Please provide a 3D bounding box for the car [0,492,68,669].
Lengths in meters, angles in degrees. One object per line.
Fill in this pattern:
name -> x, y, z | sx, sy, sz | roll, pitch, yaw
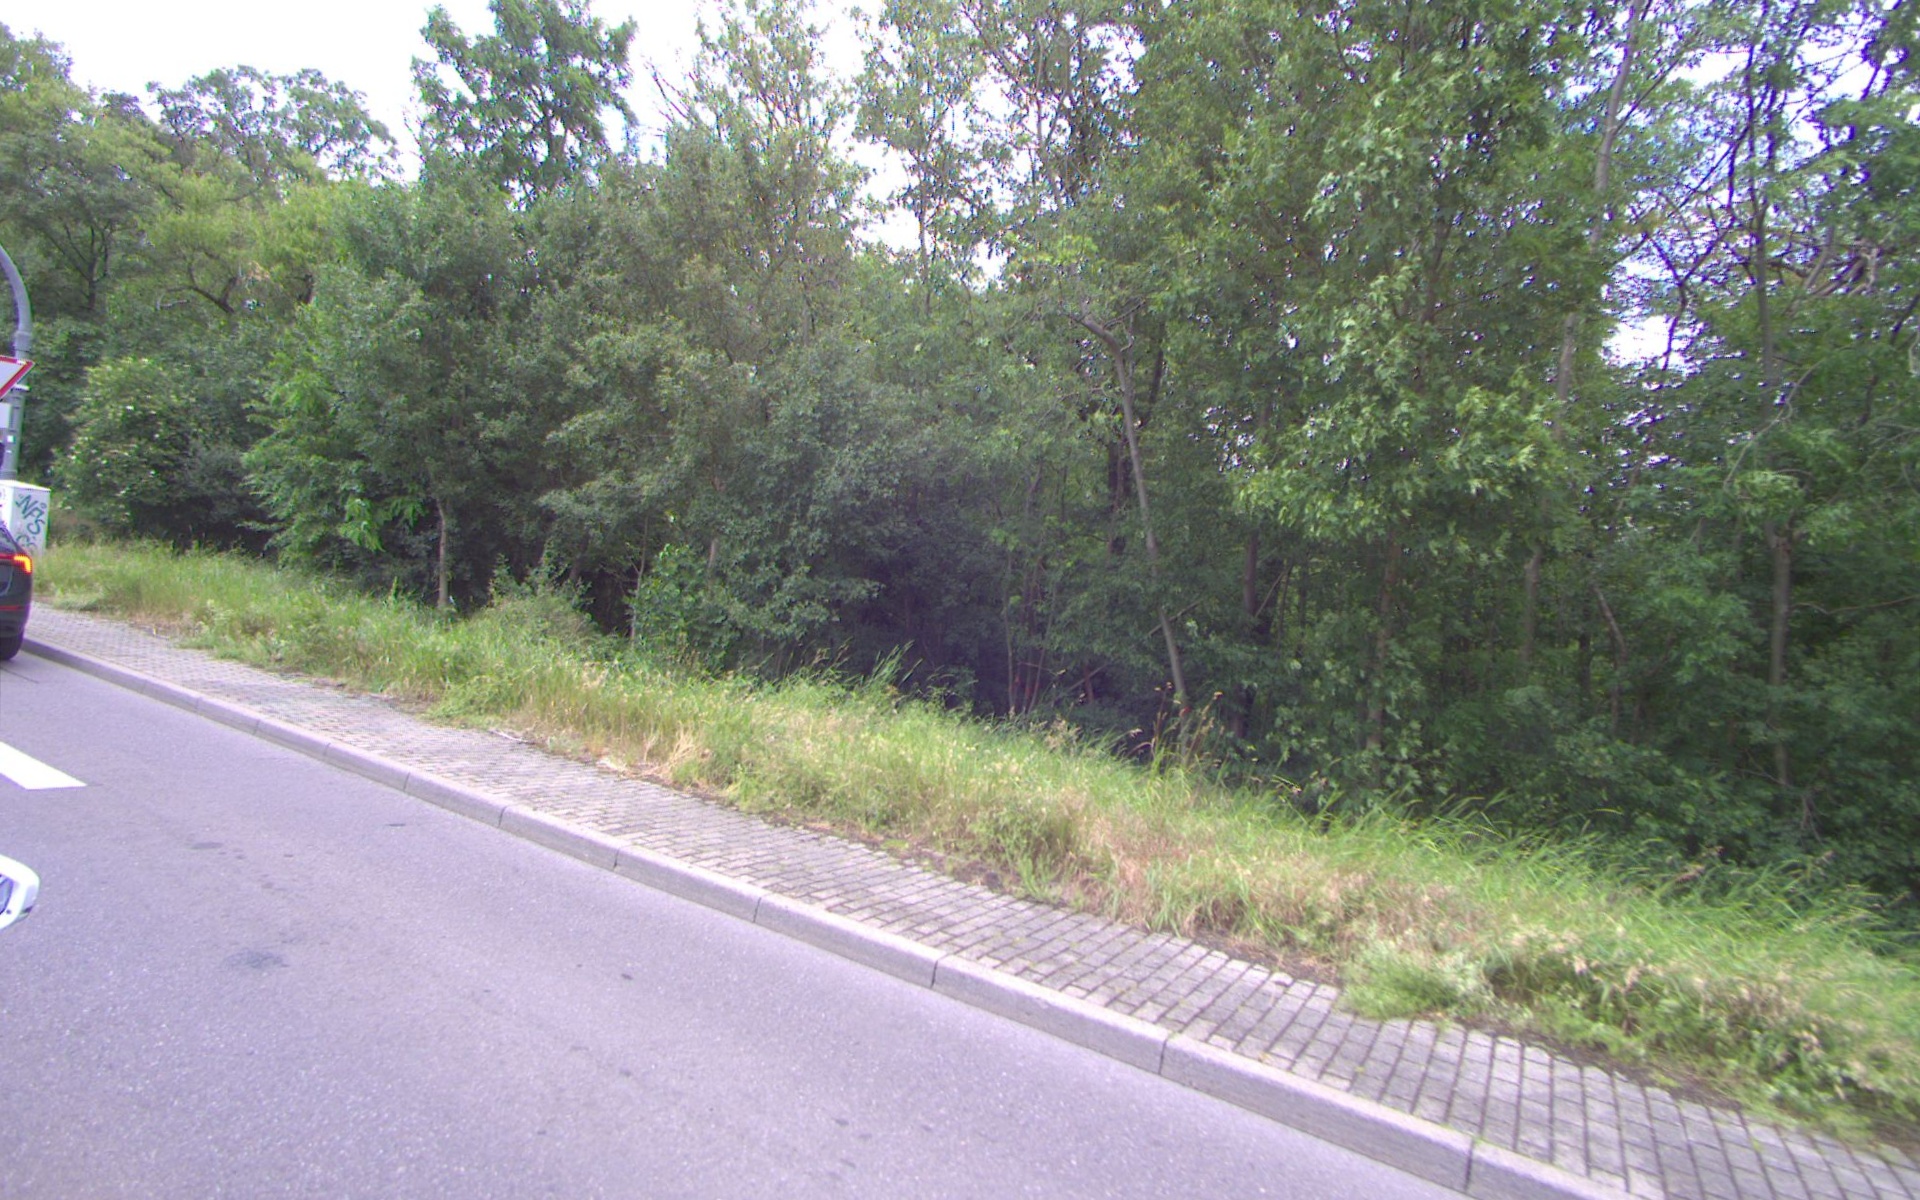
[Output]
car -> -9.964, -0.401, 9.013 | 3.933, 1.468, 1.795 | 7, -1, 31
